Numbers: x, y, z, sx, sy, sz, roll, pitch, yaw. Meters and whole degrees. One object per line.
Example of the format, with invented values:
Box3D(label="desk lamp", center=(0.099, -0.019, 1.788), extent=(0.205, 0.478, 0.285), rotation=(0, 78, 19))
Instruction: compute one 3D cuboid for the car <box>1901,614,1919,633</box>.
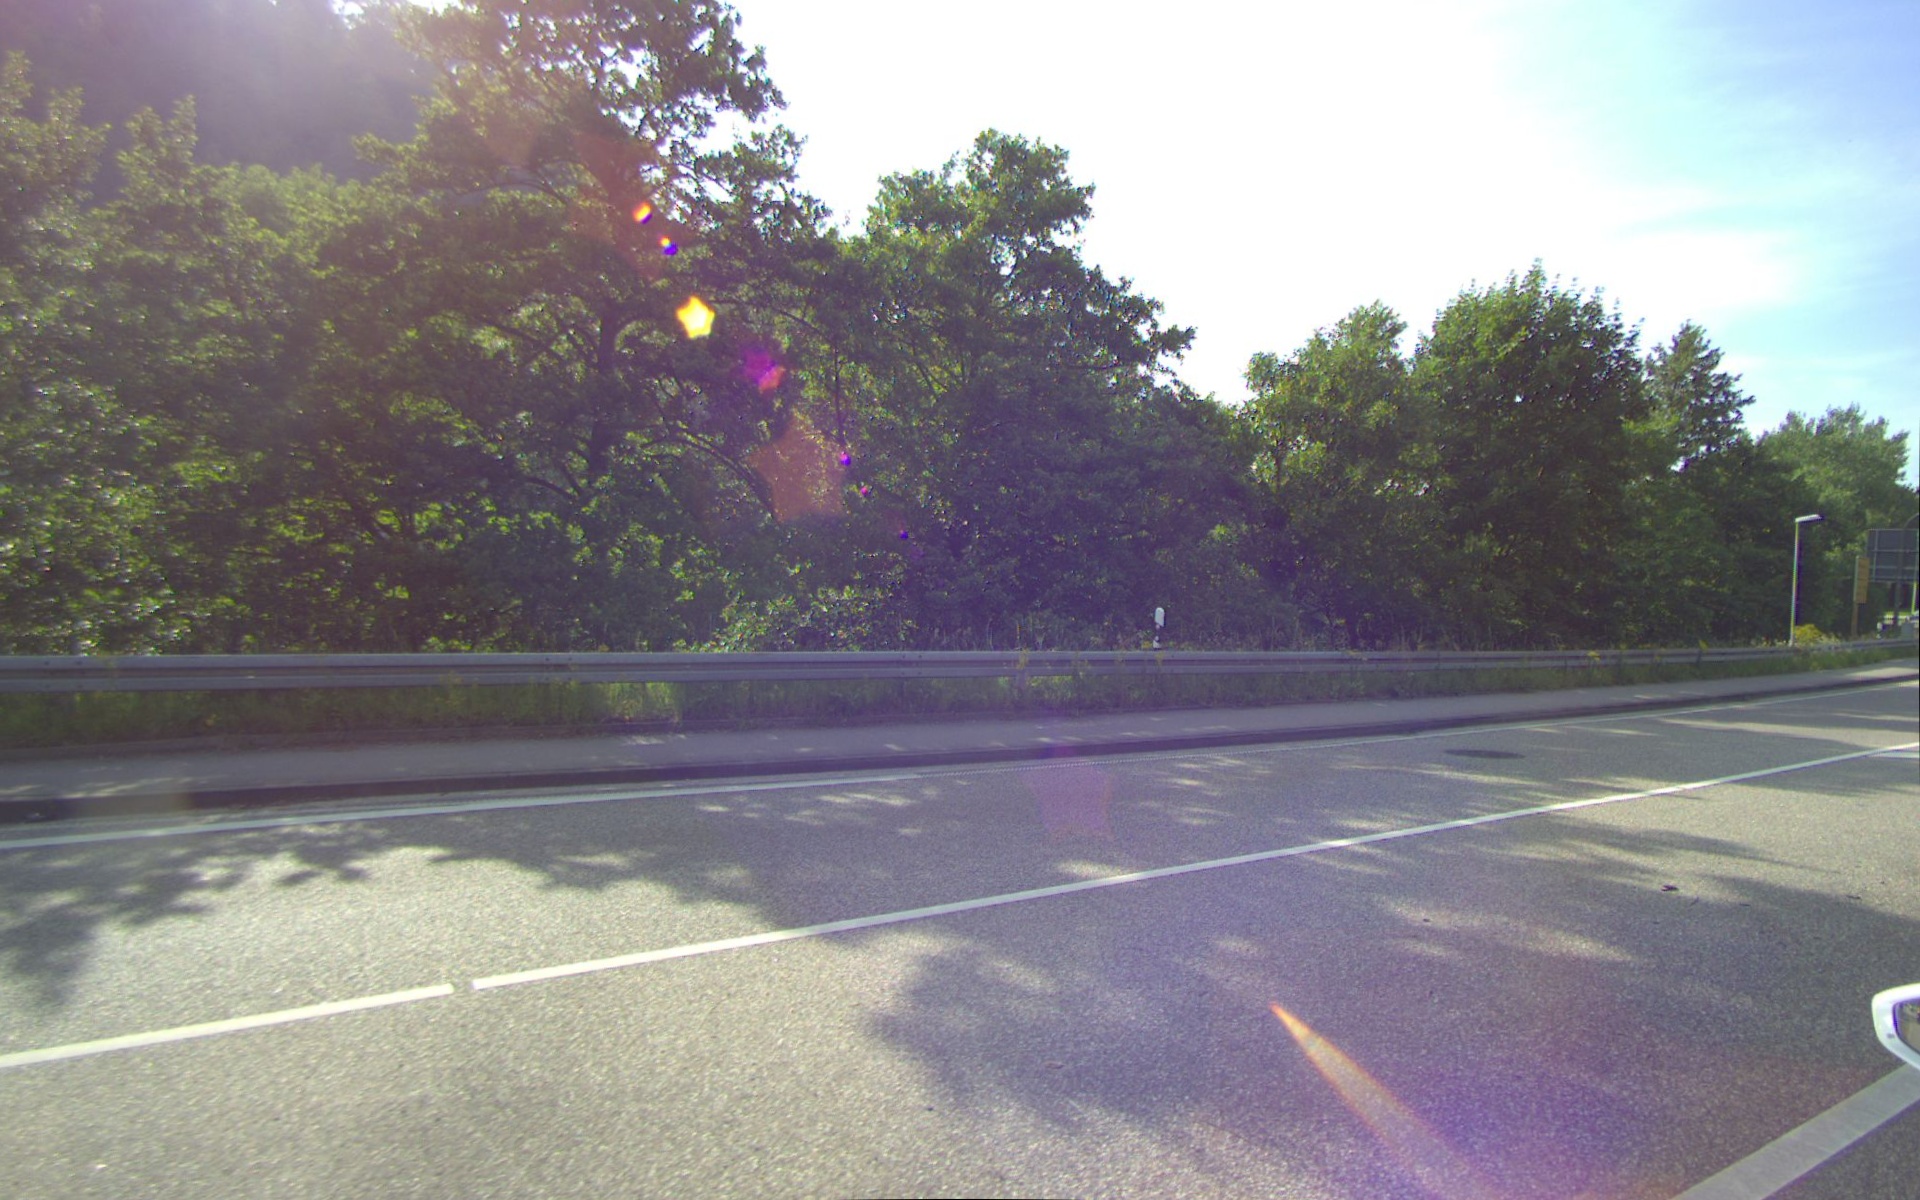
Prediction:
Box3D(label="car", center=(97.189, 2.367, 101.407), extent=(2.031, 1.835, 3.996), rotation=(0, 0, 26))
